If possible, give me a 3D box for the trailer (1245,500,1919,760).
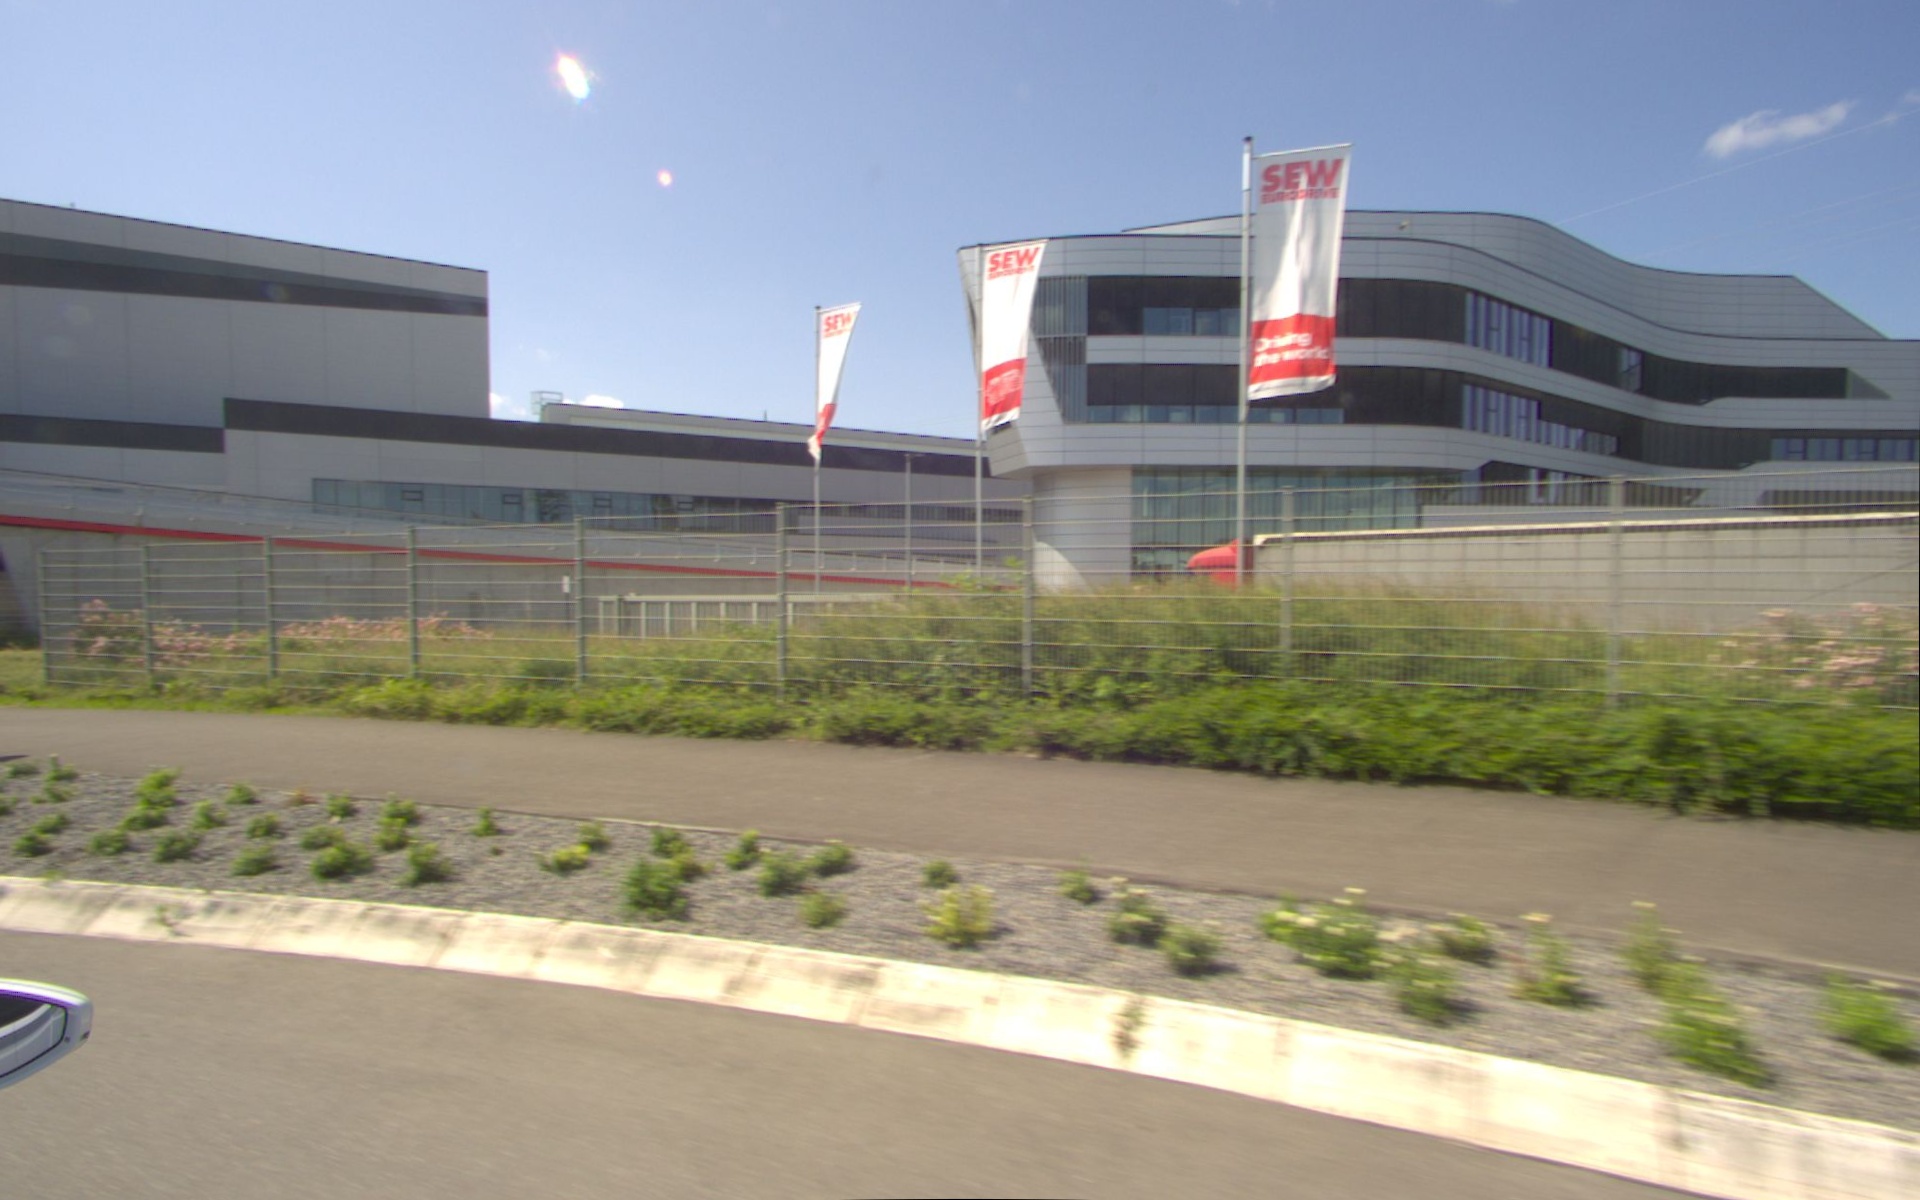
[{"bbox_3d":[13.412,0.283,23.011,2.736,4.500,13.931,-3,4,-41],"label":"trailer"}]

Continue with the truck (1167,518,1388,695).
[{"bbox_3d":[8.833,0.052,28.274,2.736,4.485,5.241,-3,4,-41],"label":"truck"}]

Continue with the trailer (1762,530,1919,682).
[{"bbox_3d":[29.148,0.148,29.174,2.872,4.356,8.625,-3,4,-44],"label":"trailer"}]
